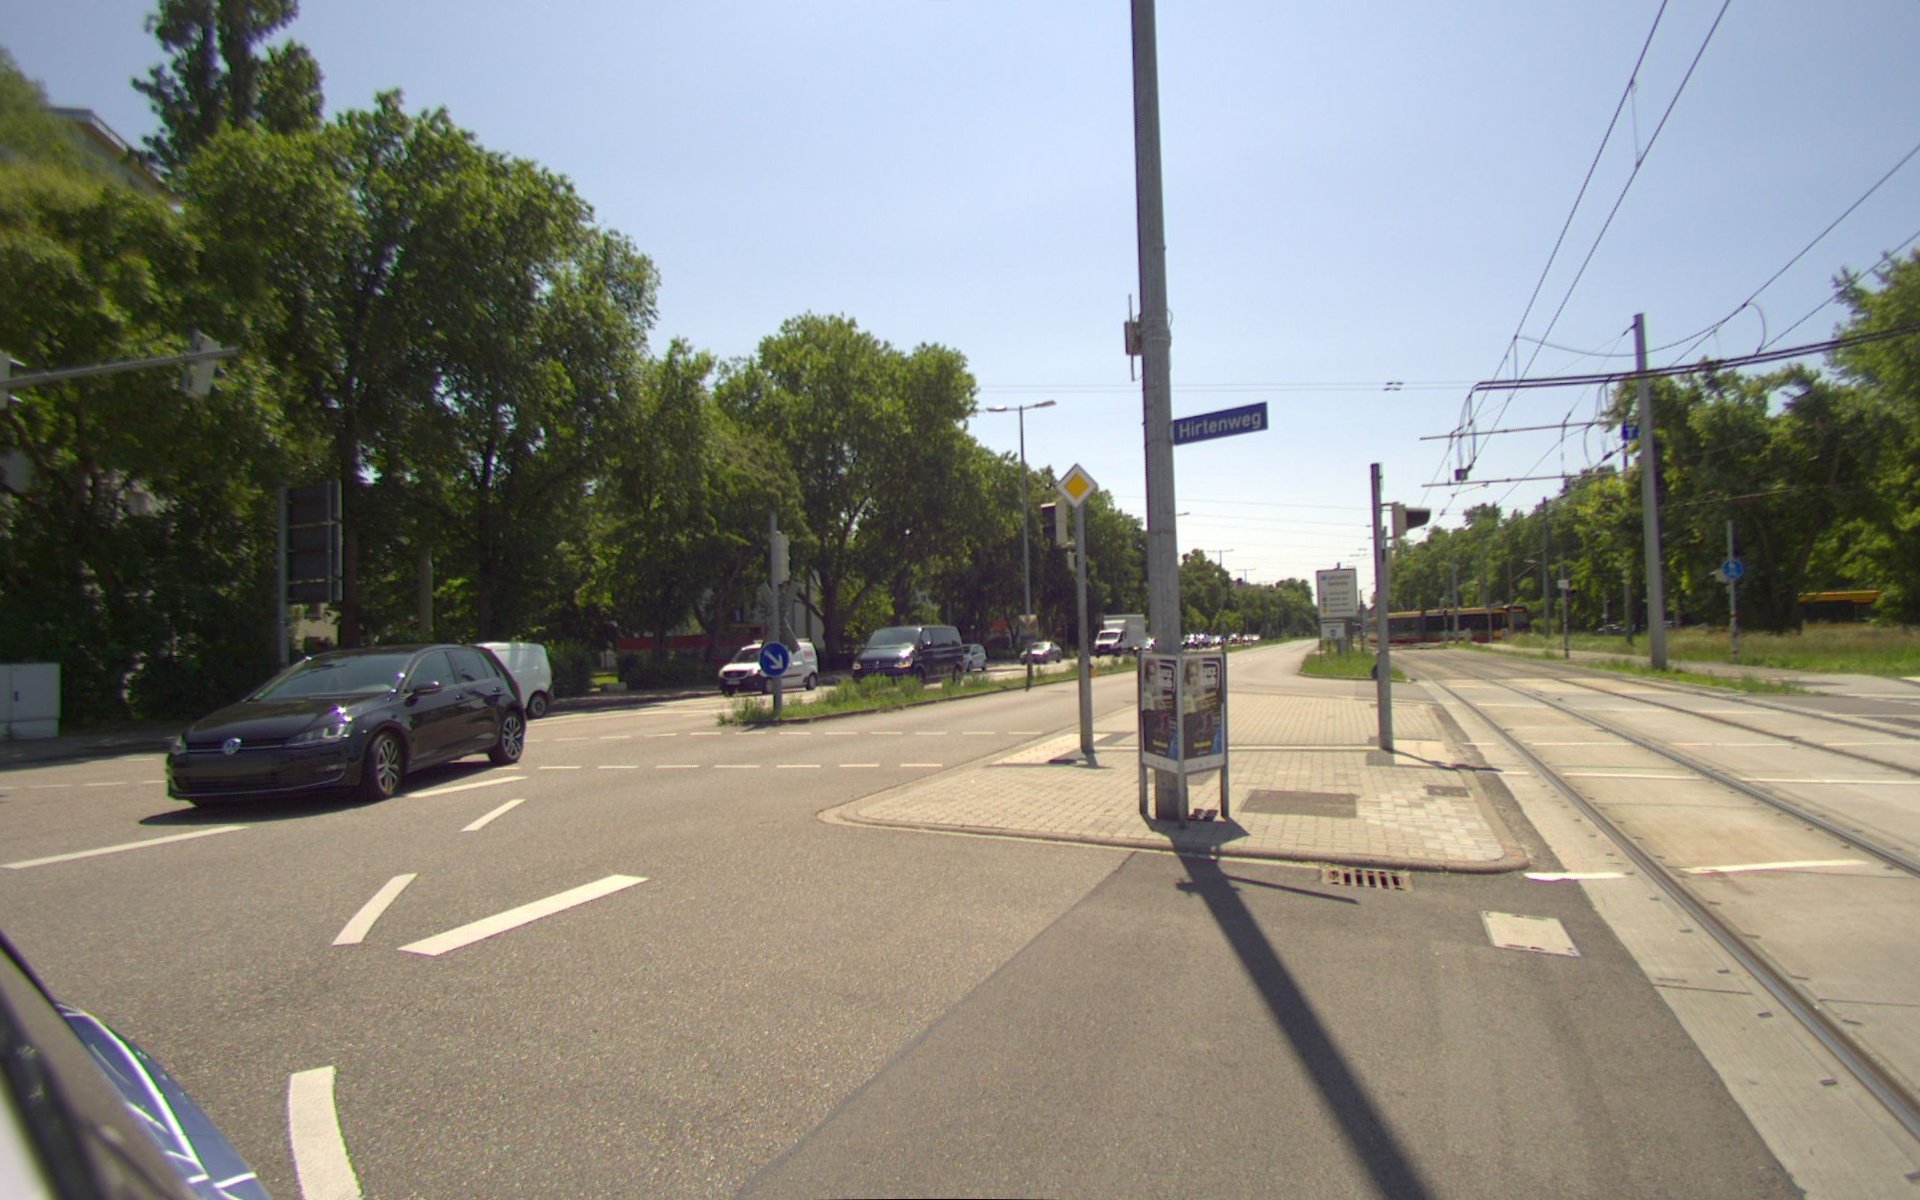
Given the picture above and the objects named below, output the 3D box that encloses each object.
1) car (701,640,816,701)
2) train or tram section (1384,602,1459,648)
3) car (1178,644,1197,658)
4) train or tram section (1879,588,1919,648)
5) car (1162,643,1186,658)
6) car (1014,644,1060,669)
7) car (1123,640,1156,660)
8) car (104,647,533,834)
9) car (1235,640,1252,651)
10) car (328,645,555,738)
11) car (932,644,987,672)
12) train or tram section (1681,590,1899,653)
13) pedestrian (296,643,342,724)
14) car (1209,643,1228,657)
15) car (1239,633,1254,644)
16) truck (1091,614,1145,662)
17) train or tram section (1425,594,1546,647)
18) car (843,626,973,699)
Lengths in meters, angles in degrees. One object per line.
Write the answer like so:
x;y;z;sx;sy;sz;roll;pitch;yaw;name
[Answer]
-6.811;2.378;34.727;1.882;1.806;4.364;-5;-3;19;car
48.838;2.808;107.633;2.989;4.288;12.724;-3;-4;6;train or tram section
24.859;5.538;110.580;1.592;1.296;3.623;-5;-3;18;car
66.303;0.735;62.050;2.975;3.788;14.231;0;-4;-33;train or tram section
21.127;4.972;99.783;1.871;1.296;3.976;-5;-3;18;car
5.046;3.679;65.884;1.836;1.436;4.185;-4;-3;21;car
12.733;3.525;71.675;1.733;1.296;3.976;-5;-3;18;car
-6.065;1.233;10.221;1.687;1.415;4.051;-3;-3;1;car
46.885;7.515;167.167;1.988;1.745;3.967;-6;-4;24;car
-11.077;1.907;21.985;1.798;1.731;4.313;-4;-3;20;car
-0.009;3.345;58.827;1.835;1.436;4.186;-4;-3;20;car
58.914;1.671;72.287;2.977;3.788;11.462;1;-5;-39;train or tram section
-15.012;1.947;23.697;0.603;1.849;0.675;-2;-3;19;pedestrian
36.307;6.959;141.952;1.986;1.745;3.971;-5;-4;21;car
53.739;7.238;189.720;1.988;1.745;3.967;-6;-4;24;car
12.837;3.061;81.677;2.569;3.560;7.659;-5;-3;20;truck
49.180;2.066;95.398;2.978;4.288;12.770;-2;-4;-8;train or tram section
-1.393;1.755;29.464;1.930;1.946;4.810;-3;-3;22;car
